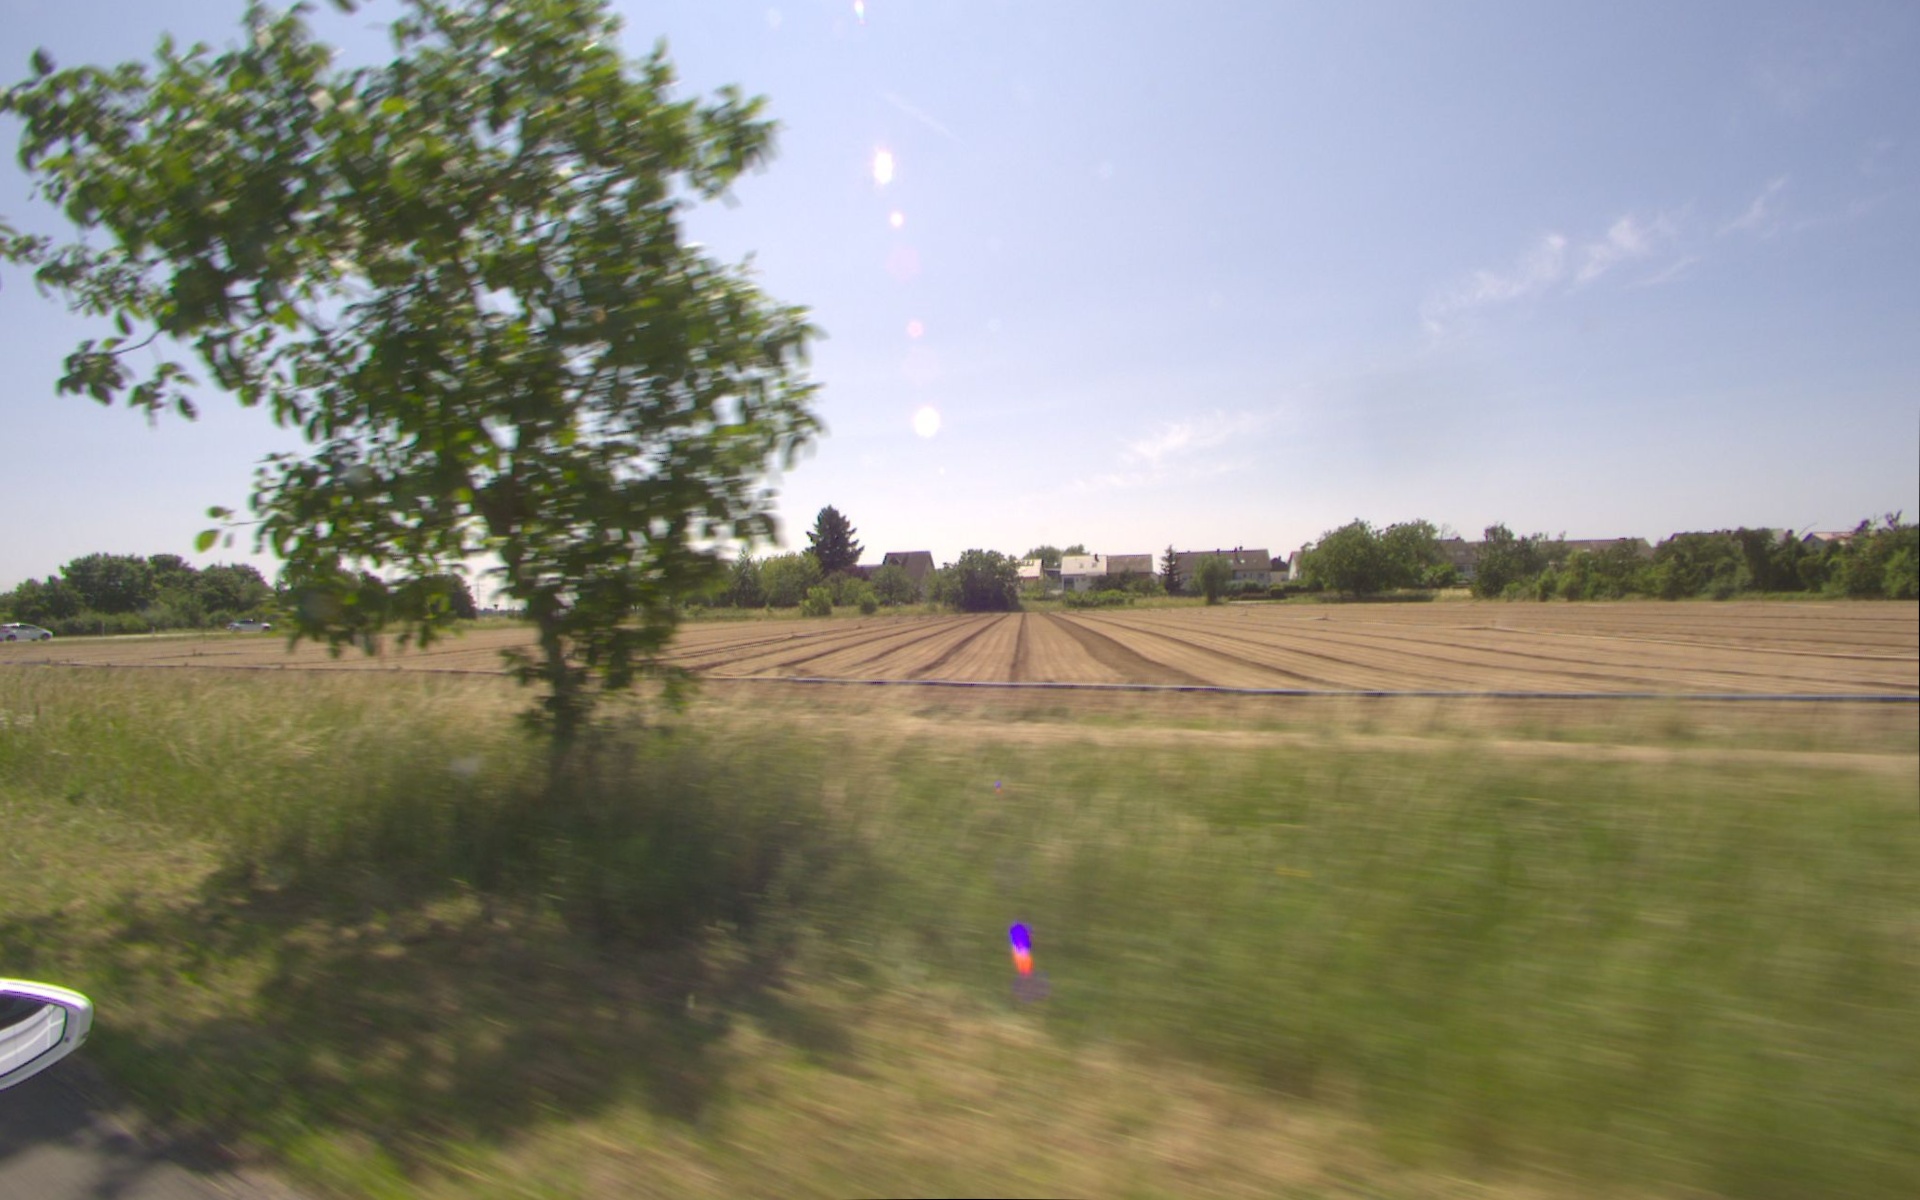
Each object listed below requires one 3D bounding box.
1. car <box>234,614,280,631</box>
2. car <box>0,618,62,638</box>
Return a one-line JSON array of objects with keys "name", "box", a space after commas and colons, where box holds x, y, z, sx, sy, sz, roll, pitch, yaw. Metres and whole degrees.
[{"name": "car", "box": [-75.523, 2.406, 107.583, 3.950, 1.645, 1.632, -1, 0, -37]}, {"name": "car", "box": [-85.852, 2.576, 92.303, 2.034, 1.645, 4.134, -1, 0, 18]}]
